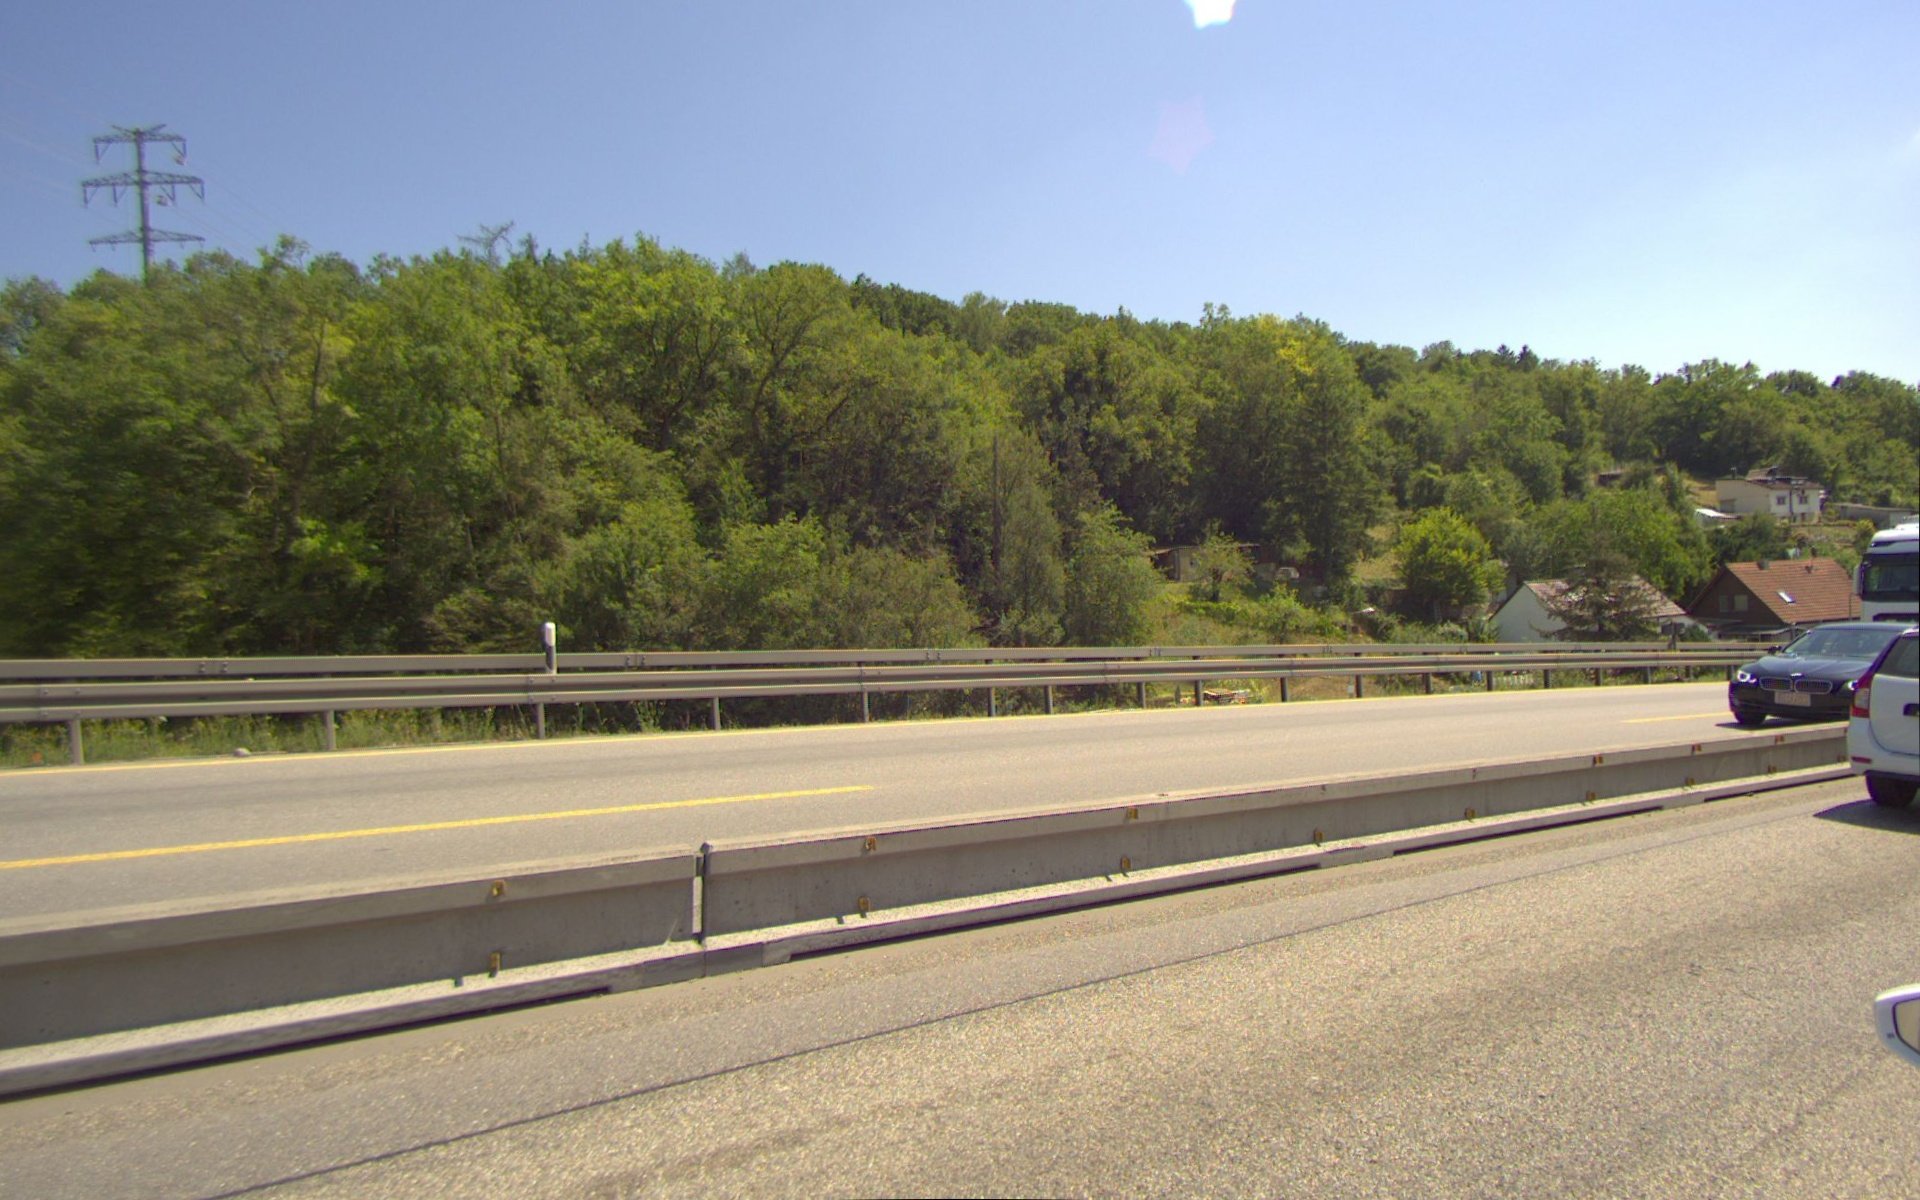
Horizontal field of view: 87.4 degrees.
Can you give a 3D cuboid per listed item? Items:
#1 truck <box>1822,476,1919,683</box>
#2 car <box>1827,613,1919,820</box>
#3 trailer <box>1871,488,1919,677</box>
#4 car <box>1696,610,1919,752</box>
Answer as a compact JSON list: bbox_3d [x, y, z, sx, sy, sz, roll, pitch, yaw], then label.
[{"bbox_3d":[24.529,-0.455,25.097,4.586,4.885,3.049,1,0,-28],"label":"truck"},{"bbox_3d":[8.940,0.895,8.089,4.215,1.503,1.644,2,-3,-30],"label":"car"},{"bbox_3d":[31.040,-0.331,28.533,13.823,4.879,3.053,1,0,-28],"label":"trailer"},{"bbox_3d":[12.589,1.057,14.243,4.804,1.662,1.981,2,-1,-34],"label":"car"}]
